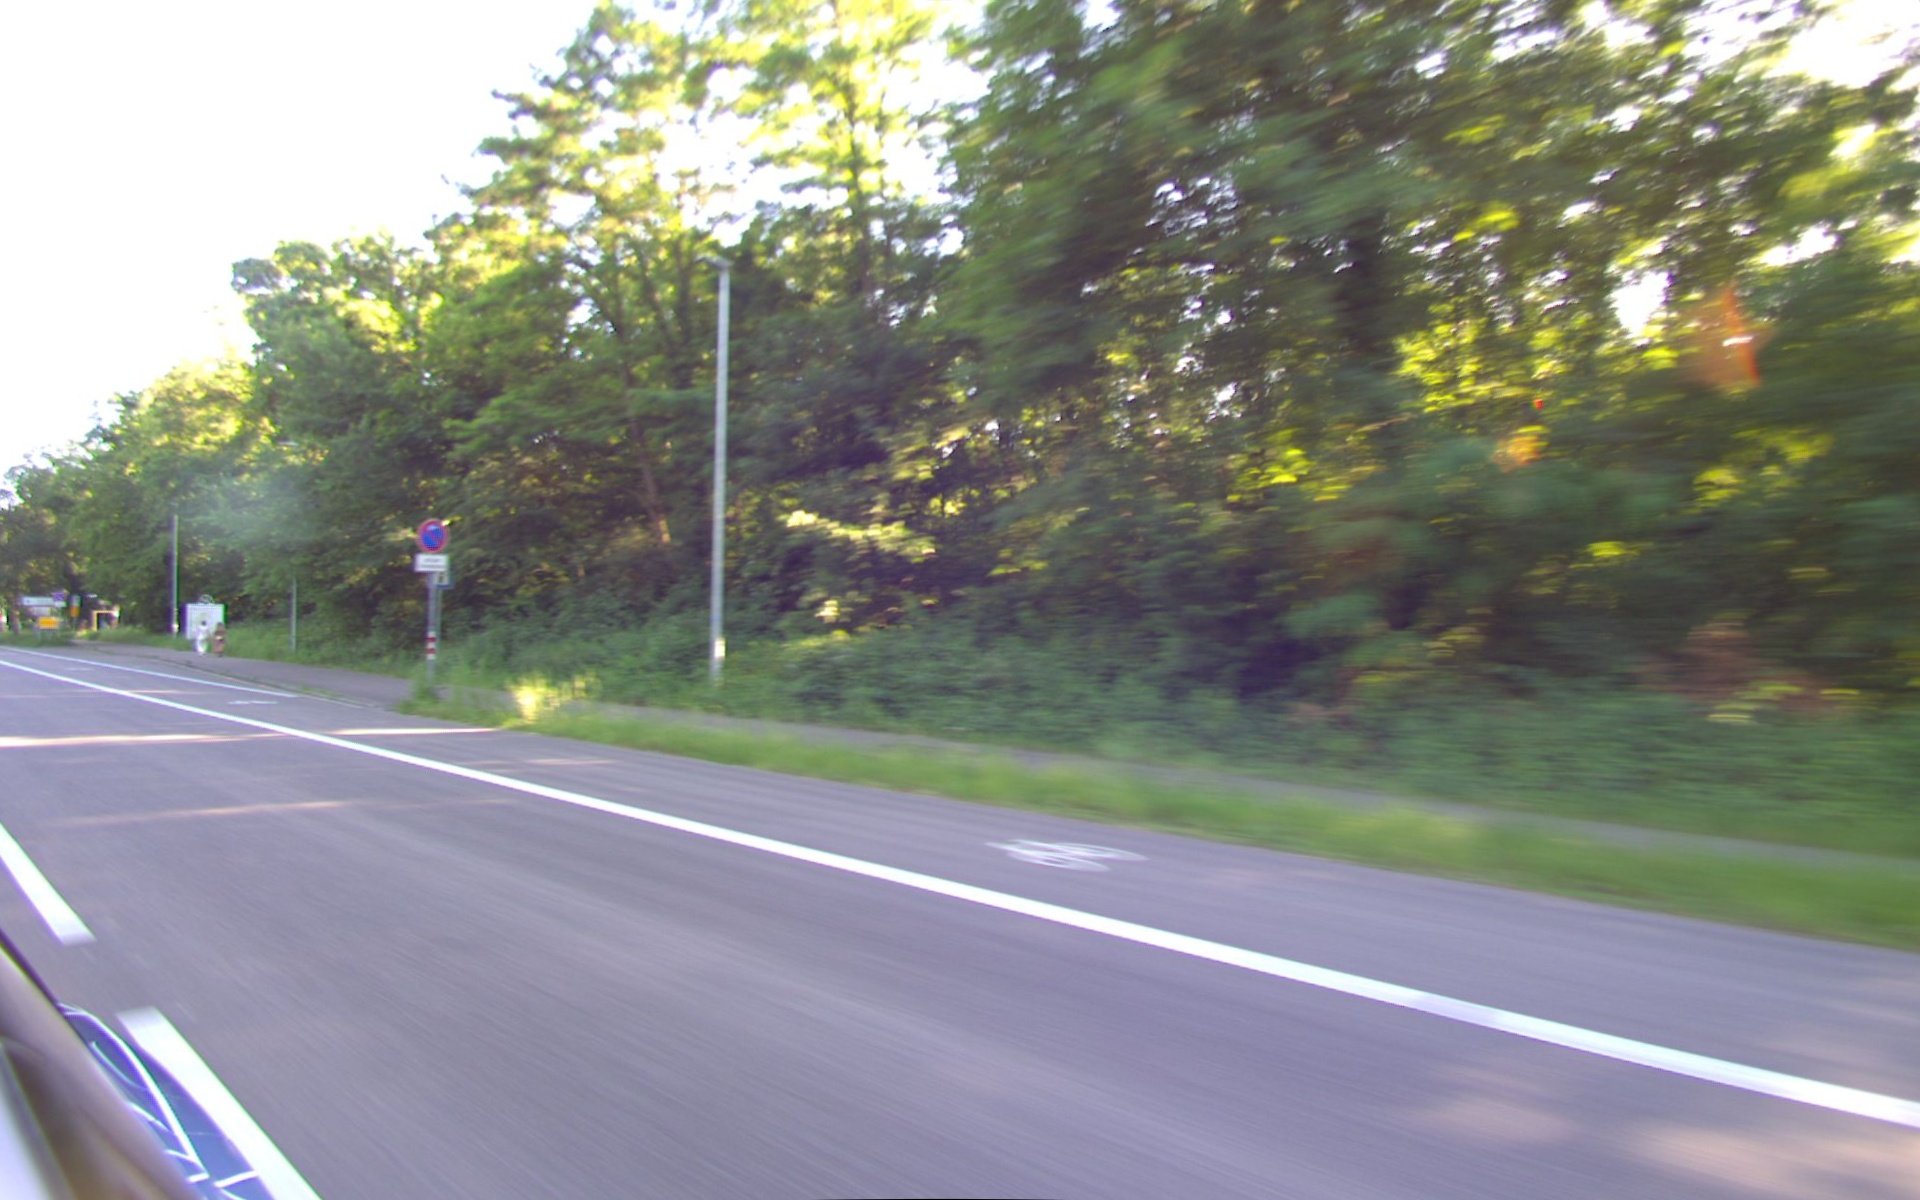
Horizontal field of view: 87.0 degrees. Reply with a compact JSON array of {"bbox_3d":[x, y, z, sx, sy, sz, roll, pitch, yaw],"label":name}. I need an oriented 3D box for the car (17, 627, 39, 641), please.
[{"bbox_3d":[-116.269,4.247,126.264,3.612,1.653,1.735,-1,-2,43],"label":"car"}]

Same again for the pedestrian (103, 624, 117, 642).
[{"bbox_3d":[-83.066,3.229,98.876,0.820,1.833,0.739,1,-2,-20],"label":"pedestrian"}]

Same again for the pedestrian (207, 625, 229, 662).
[{"bbox_3d":[-33.680,1.964,45.927,0.667,1.666,0.790,2,-3,-45],"label":"pedestrian"}]

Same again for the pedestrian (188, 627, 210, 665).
[{"bbox_3d":[-34.150,2.055,45.434,0.667,1.666,0.790,2,-3,-45],"label":"pedestrian"}]

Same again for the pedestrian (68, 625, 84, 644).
[{"bbox_3d":[-85.333,3.372,97.722,0.824,1.833,0.735,0,-2,4],"label":"pedestrian"}]
